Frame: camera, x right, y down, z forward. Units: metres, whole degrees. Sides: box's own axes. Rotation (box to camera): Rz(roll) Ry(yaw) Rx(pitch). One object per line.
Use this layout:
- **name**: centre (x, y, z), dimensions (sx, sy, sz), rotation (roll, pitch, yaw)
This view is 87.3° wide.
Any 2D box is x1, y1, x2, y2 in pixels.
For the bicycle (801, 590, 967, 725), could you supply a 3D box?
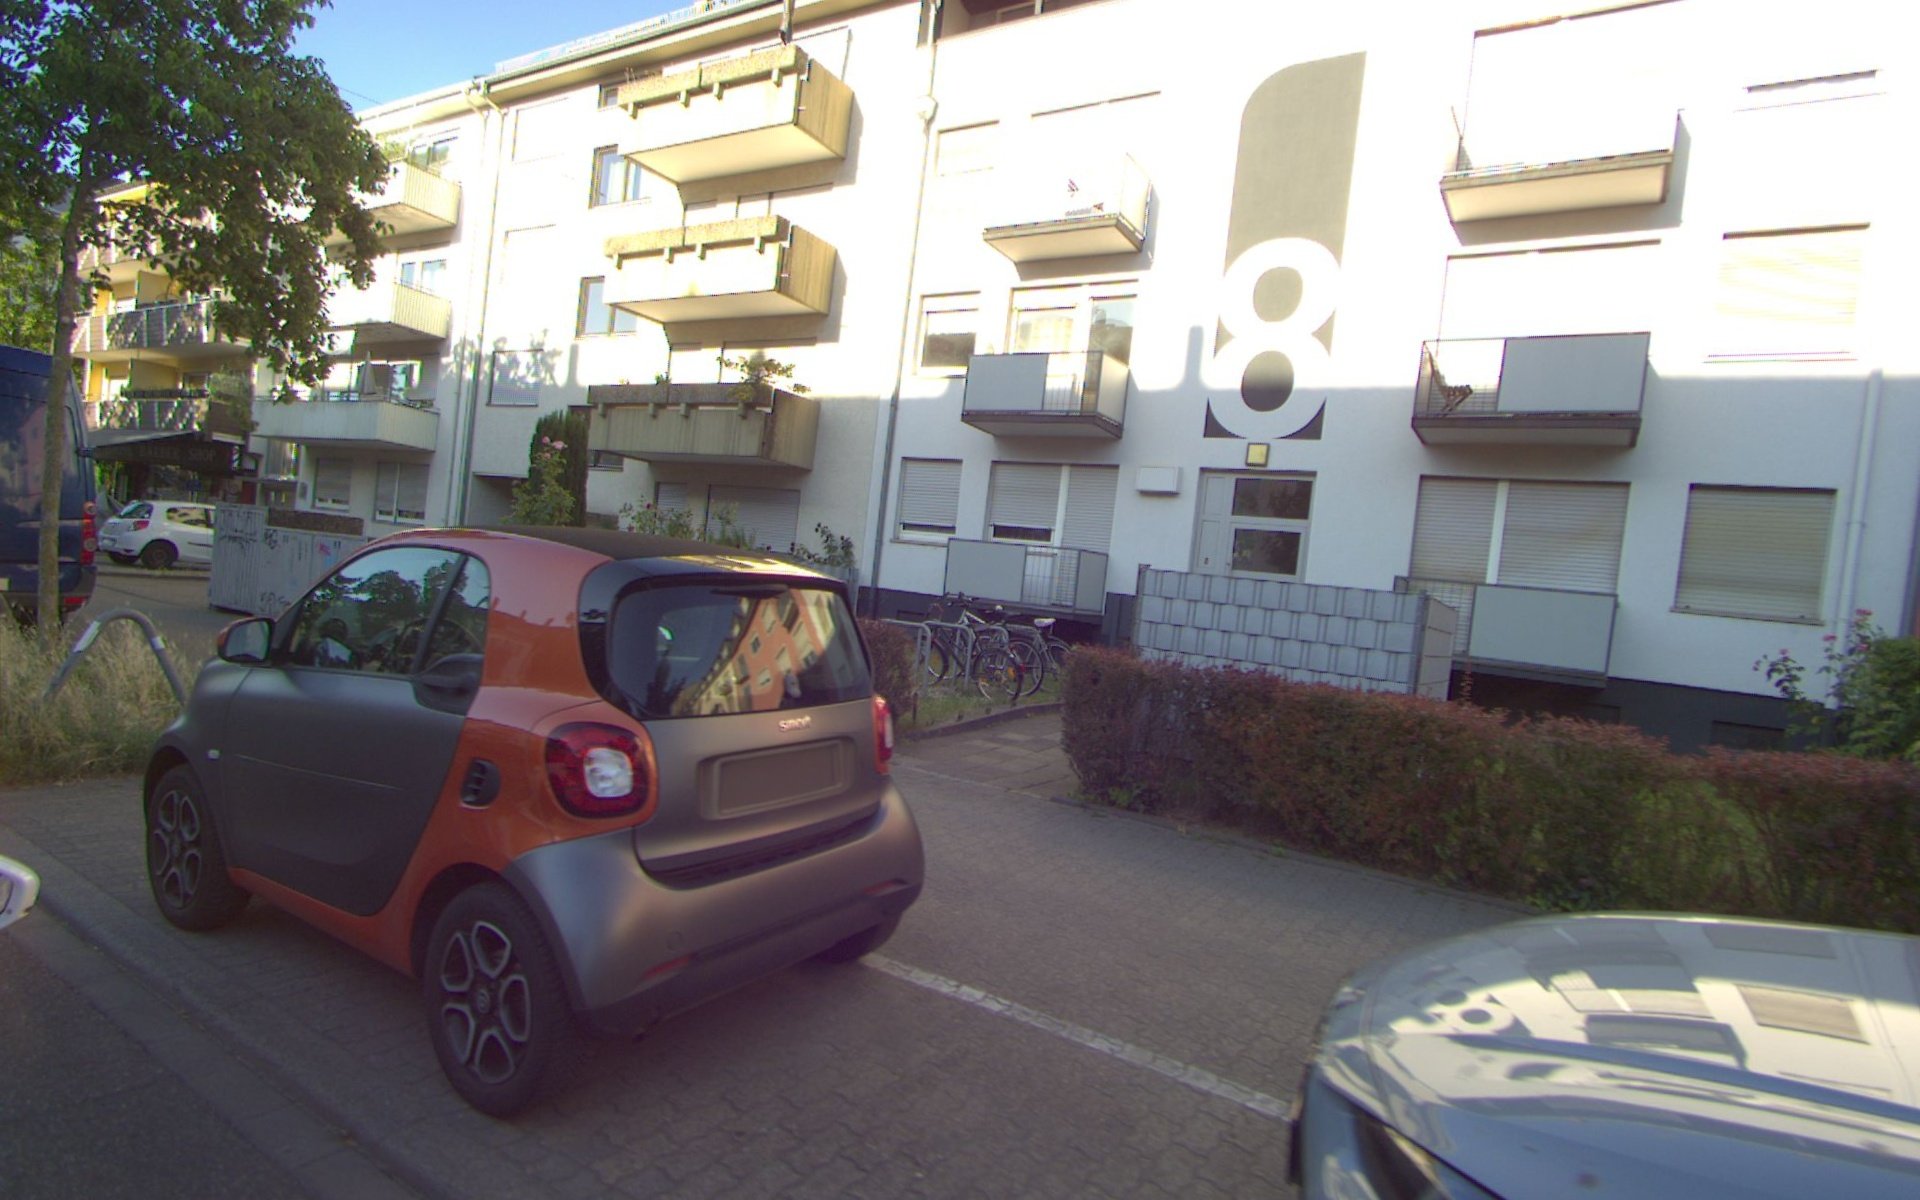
- **bicycle**: centre (-0.763, 0.538, 9.871), dimensions (1.519, 1.103, 0.493), rotation (7, 1, 32)

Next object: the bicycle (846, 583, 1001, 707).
- **bicycle**: centre (-0.402, 0.457, 10.647), dimensions (1.519, 1.103, 0.493), rotation (7, 1, 32)

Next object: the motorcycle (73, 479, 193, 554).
- **motorcycle**: centre (-21.648, -2.166, 26.367), dimensions (0.876, 1.641, 2.192), rotation (8, 1, 38)

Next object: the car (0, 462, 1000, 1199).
- **car**: centre (-1.950, 0.468, 4.047), dimensions (3.694, 1.663, 1.775), rotation (6, 0, 31)

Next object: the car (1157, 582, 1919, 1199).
- **car**: centre (2.780, 1.029, 1.166), dimensions (4.664, 1.505, 1.923), rotation (7, 1, 29)

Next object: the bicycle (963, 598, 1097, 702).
- **bicycle**: centre (0.872, 0.611, 12.707), dimensions (1.519, 1.103, 0.493), rotation (7, 1, 32)

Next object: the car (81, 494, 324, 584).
- **car**: centre (-17.201, -1.344, 23.061), dimensions (1.793, 1.480, 3.993), rotation (7, 0, 29)

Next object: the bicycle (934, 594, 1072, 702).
- **bicycle**: centre (0.503, 0.566, 12.208), dimensions (1.519, 1.103, 0.493), rotation (7, 1, 32)

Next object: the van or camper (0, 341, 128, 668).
- **van or camper**: centre (-10.601, -1.055, 9.763), dimensions (5.892, 2.709, 2.069), rotation (6, 0, 33)

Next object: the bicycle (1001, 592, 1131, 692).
- **bicycle**: centre (1.380, 0.542, 13.190), dimensions (1.519, 1.103, 0.493), rotation (7, 1, 32)

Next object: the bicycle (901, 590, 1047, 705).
- **bicycle**: centre (0.141, 0.523, 11.441), dimensions (1.519, 1.103, 0.493), rotation (7, 1, 32)
